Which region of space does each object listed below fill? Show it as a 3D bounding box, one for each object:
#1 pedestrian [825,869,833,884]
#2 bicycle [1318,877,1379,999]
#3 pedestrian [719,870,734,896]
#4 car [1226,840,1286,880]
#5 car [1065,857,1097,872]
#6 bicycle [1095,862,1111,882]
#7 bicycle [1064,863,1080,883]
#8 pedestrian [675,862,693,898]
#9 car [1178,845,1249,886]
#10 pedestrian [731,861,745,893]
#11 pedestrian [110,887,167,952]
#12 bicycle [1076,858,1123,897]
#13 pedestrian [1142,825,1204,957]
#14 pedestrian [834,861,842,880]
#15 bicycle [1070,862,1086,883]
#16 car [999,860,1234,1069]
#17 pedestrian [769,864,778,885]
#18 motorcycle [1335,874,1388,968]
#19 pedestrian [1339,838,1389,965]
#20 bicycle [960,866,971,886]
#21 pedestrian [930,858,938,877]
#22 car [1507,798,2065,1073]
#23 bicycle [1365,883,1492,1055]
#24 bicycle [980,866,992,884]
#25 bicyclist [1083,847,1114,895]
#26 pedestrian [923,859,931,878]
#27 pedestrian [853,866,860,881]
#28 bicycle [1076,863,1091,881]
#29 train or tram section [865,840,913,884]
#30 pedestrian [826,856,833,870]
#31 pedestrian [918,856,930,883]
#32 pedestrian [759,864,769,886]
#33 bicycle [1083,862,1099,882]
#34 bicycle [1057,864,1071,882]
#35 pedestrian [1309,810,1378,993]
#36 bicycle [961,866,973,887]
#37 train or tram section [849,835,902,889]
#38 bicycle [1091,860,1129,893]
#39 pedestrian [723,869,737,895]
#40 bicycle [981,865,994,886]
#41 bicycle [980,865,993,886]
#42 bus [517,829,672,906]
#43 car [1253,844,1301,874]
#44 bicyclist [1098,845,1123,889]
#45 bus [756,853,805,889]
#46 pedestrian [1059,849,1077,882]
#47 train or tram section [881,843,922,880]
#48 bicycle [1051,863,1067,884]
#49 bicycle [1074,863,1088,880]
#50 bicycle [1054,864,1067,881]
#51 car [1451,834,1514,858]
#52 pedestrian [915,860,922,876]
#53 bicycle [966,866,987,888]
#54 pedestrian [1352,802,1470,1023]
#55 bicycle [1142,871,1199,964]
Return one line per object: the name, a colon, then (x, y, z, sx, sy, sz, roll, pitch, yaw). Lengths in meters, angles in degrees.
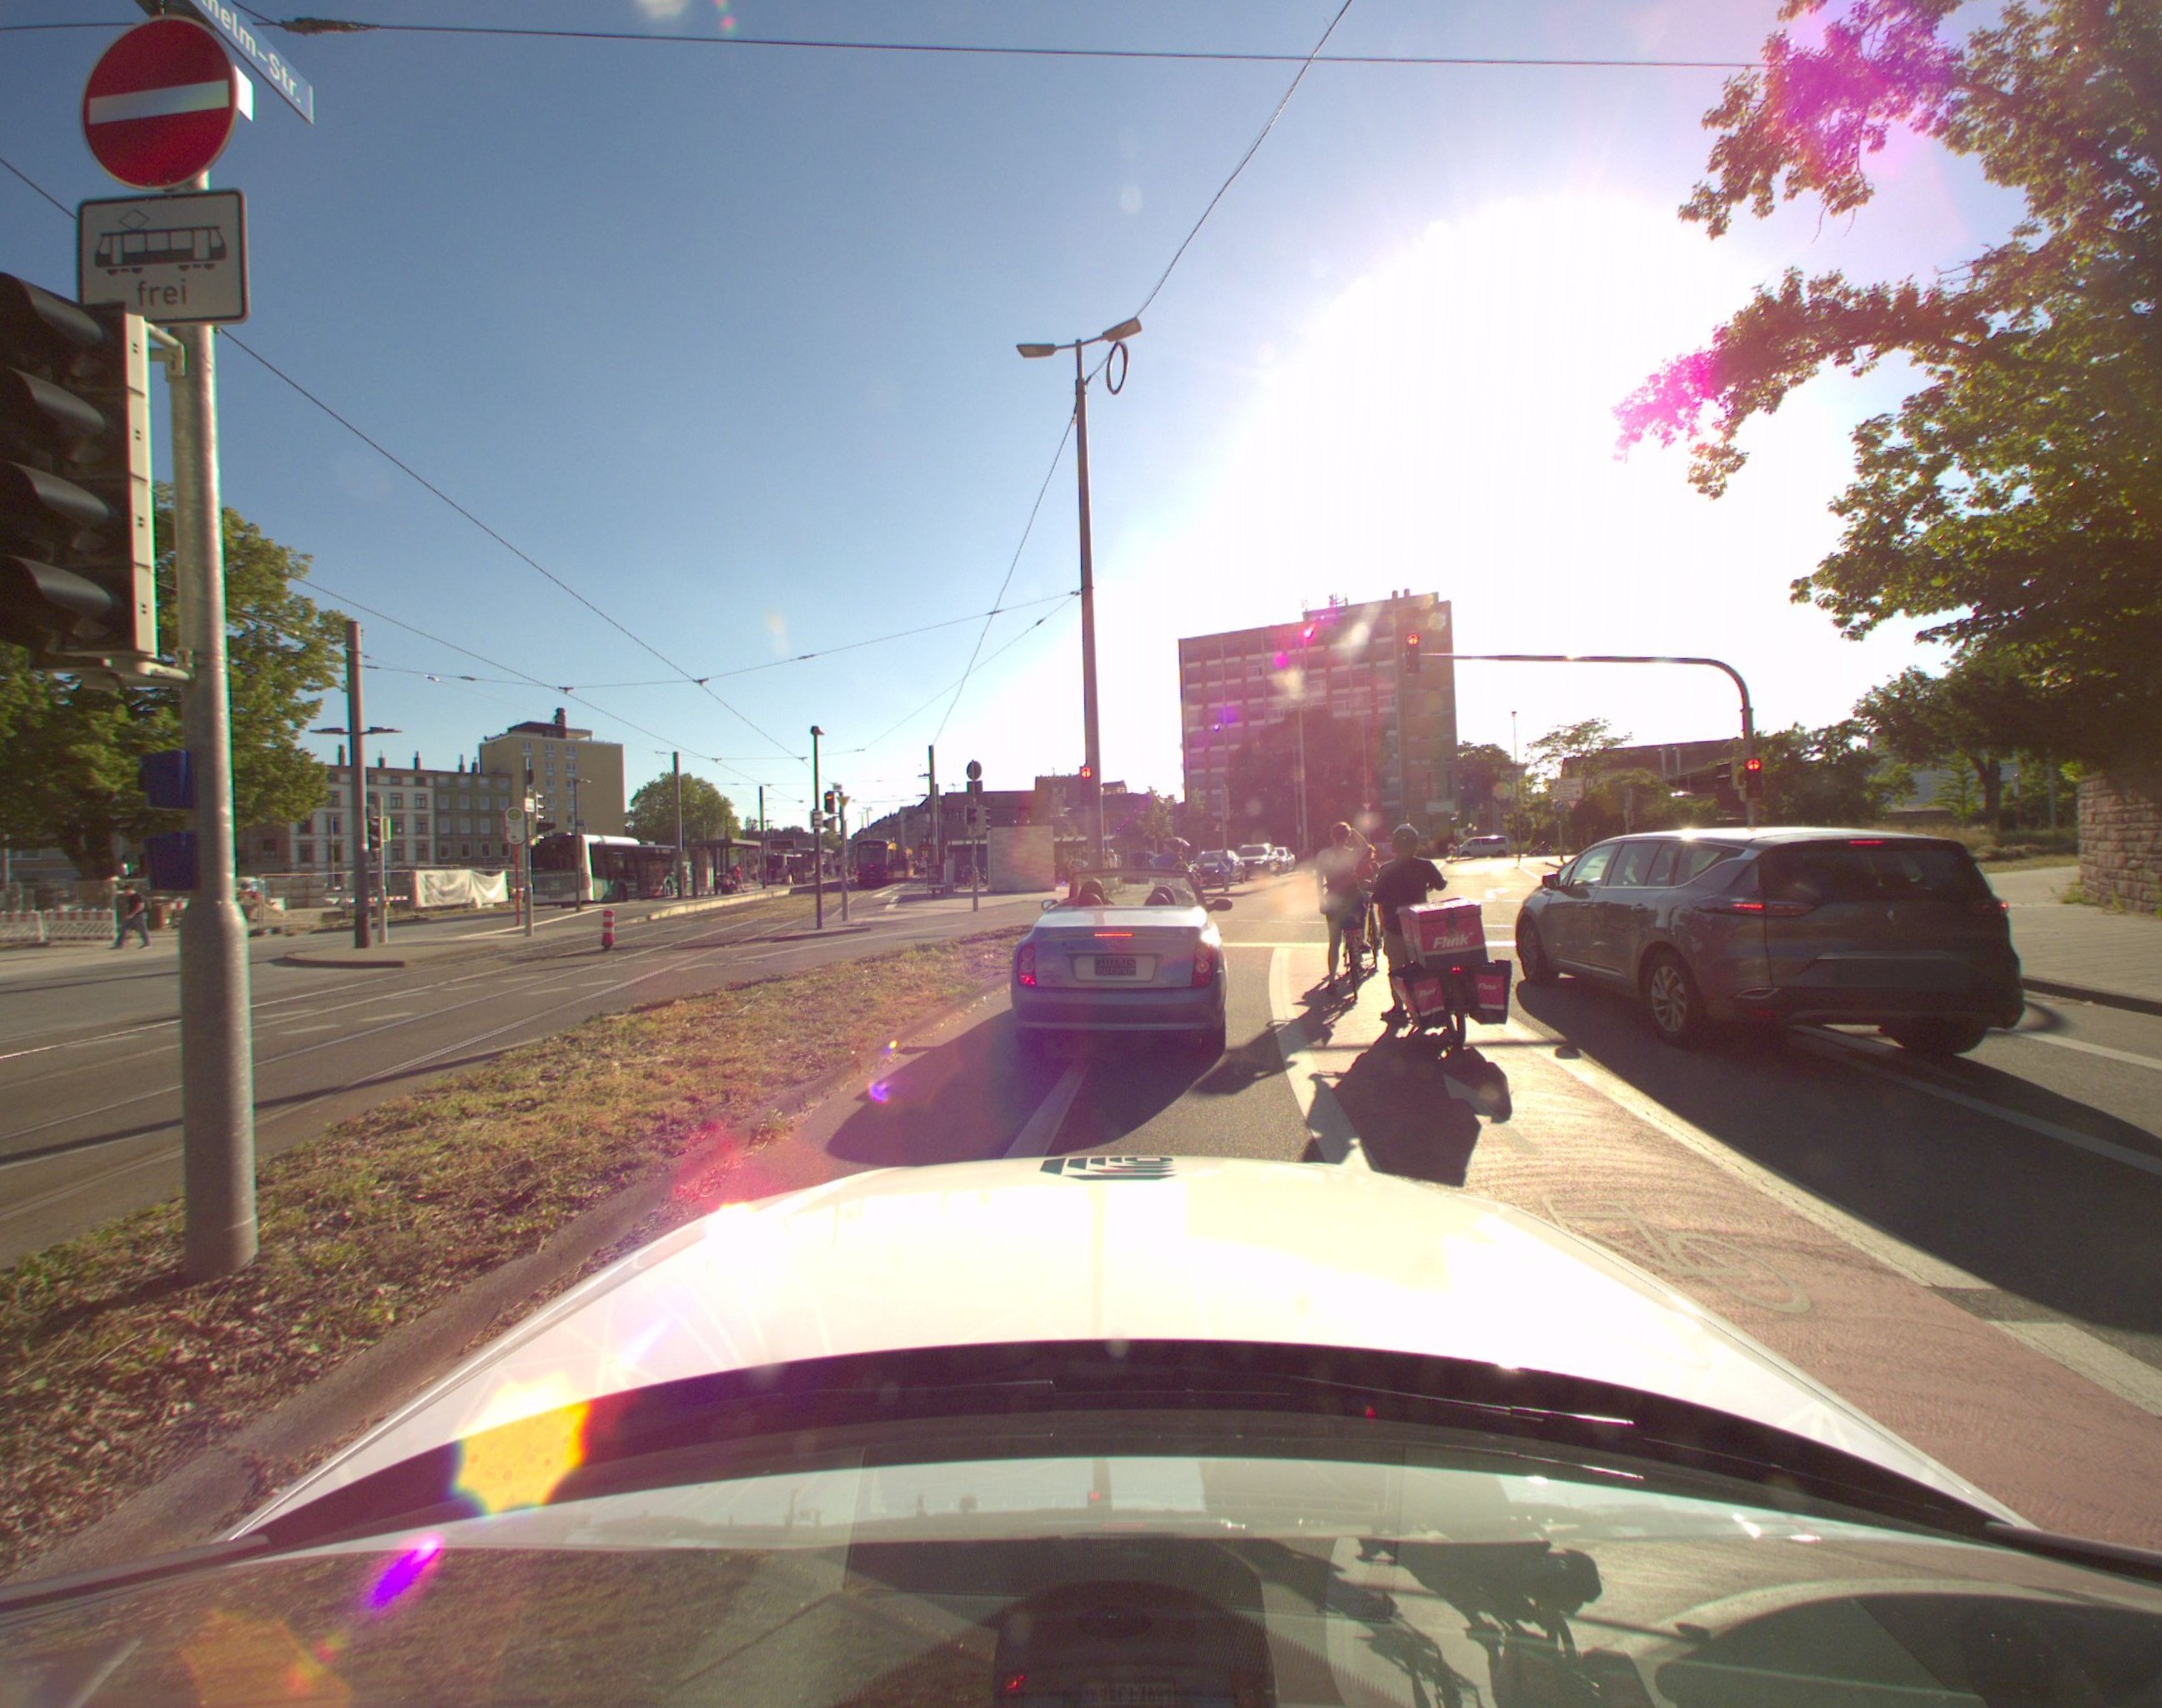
pedestrian: (-30.789, 2.762, 99.628, 0.732, 1.749, 0.638, -2, -1, -6)
bicycle: (2.935, 0.856, 9.023, 0.559, 1.151, 1.958, -1, -1, 17)
pedestrian: (-18.600, 1.519, 42.778, 0.617, 1.340, 0.438, -2, -1, -15)
car: (8.574, 0.256, 39.664, 1.745, 1.706, 4.557, -4, -1, 26)
car: (-0.027, 1.174, 88.865, 1.653, 1.560, 3.559, -2, 0, -37)
bicycle: (1.241, 1.005, 45.681, 0.606, 1.115, 1.892, 0, -1, -7)
bicycle: (-0.539, 1.091, 47.354, 0.607, 1.115, 1.890, 0, -1, -10)
pedestrian: (-19.619, 1.270, 40.266, 0.536, 1.749, 0.559, -2, -1, -4)
car: (5.549, 0.468, 33.644, 1.720, 1.574, 3.948, -1, -1, 28)
pedestrian: (-19.108, 1.274, 45.341, 0.571, 1.749, 0.636, -2, -1, -15)
pedestrian: (-26.156, 1.803, 22.621, 0.712, 1.697, 0.893, -3, -2, -25)
bicycle: (0.677, 0.810, 28.971, 0.668, 1.250, 2.471, -5, -1, 24)
pedestrian: (1.371, 0.526, 12.059, 0.828, 1.869, 0.923, -1, -1, 10)
pedestrian: (-23.369, 1.606, 78.279, 0.641, 1.749, 0.567, -2, -1, -25)
bicycle: (-0.176, 1.014, 45.413, 0.607, 1.115, 1.890, 0, -1, -10)
car: (0.550, 0.782, 7.798, 1.650, 1.441, 4.164, -1, -1, 9)
pedestrian: (-25.465, 1.701, 67.365, 0.571, 1.749, 0.636, -2, -1, -17)
motorcycle: (3.828, 0.844, 11.106, 0.608, 1.097, 2.371, -1, -1, 19)
pedestrian: (3.772, 0.605, 10.847, 0.583, 1.598, 1.030, -1, -1, 19)
bicycle: (-6.558, 1.249, 46.296, 0.606, 1.115, 1.891, 0, -1, -8)
pedestrian: (-14.117, 1.272, 78.206, 0.639, 1.749, 0.732, -2, -1, -17)
car: (5.542, 0.522, 7.321, 1.820, 1.689, 4.381, -1, -1, 10)
bicycle: (2.936, 0.872, 7.096, 0.550, 1.171, 2.380, -1, -1, 12)
bicycle: (-5.899, 1.285, 50.626, 0.607, 1.115, 1.890, 0, -1, -10)
bicyclist: (0.629, 0.595, 28.905, 0.702, 1.657, 0.906, -5, -2, 24)
pedestrian: (-14.665, 1.402, 77.572, 0.639, 1.749, 0.732, -2, -1, -17)
pedestrian: (-28.039, 2.446, 101.817, 0.732, 1.749, 0.638, -2, -1, -6)
bicycle: (0.133, 1.136, 51.415, 0.607, 1.115, 1.890, 0, -1, -10)
train or tram section: (-17.063, 0.703, 73.259, 3.010, 3.597, 12.165, 0, 0, -8)
pedestrian: (-30.790, 1.092, 99.656, 0.735, 1.749, 0.637, -2, -1, -14)
pedestrian: (-10.603, 1.058, 54.926, 0.639, 1.749, 0.569, -2, -1, -17)
pedestrian: (-25.360, 1.685, 65.211, 0.641, 1.749, 0.567, -2, -1, -25)
bicycle: (0.559, 1.054, 47.716, 0.607, 1.115, 1.890, 0, -1, -10)
bicycle: (-1.101, 1.161, 51.242, 0.607, 1.115, 1.890, 0, -1, -10)
pedestrian: (2.837, 0.489, 8.840, 0.654, 1.869, 0.876, -1, -1, 17)
bicycle: (-6.210, 1.230, 44.361, 0.607, 1.115, 1.890, 0, -1, -10)
train or tram section: (-15.258, 0.580, 61.218, 2.881, 3.597, 12.158, 0, -1, -10)
bicycle: (1.156, 0.846, 31.574, 0.668, 1.180, 2.195, -3, 0, 24)
pedestrian: (-18.730, 1.473, 43.465, 0.571, 1.346, 0.636, -2, -1, -15)
bicycle: (-5.372, 1.223, 46.737, 0.607, 1.115, 1.890, 0, -1, -10)
bicycle: (-5.175, 1.192, 44.667, 0.607, 1.115, 1.890, 0, -1, -10)
bus: (-22.368, 0.572, 38.224, 2.652, 3.135, 9.617, 0, -1, -8)
car: (11.169, 0.250, 46.218, 1.678, 1.560, 4.004, -3, 0, 28)
bicyclist: (1.149, 0.489, 31.603, 0.702, 1.657, 0.747, -3, -1, 24)
bus: (-29.665, 1.585, 80.950, 2.723, 3.274, 13.409, 0, -1, -12)
pedestrian: (-0.762, 0.665, 46.958, 0.901, 1.869, 0.684, 0, -1, -11)
train or tram section: (-18.597, 0.811, 85.231, 3.037, 3.597, 12.021, 0, 0, -7)
bicycle: (-1.251, 1.080, 45.297, 0.607, 1.115, 1.890, 0, -1, -10)
bicycle: (-0.028, 1.131, 53.393, 0.607, 1.115, 1.890, 0, -1, -10)
bicycle: (-1.344, 1.192, 53.216, 0.607, 1.115, 1.890, 0, -1, -10)
car: (35.747, -0.719, 72.614, 4.662, 1.945, 1.920, -2, 0, 9)
pedestrian: (-18.069, 1.528, 90.537, 0.604, 1.749, 0.830, -2, -1, -6)
bicycle: (-5.464, 1.202, 42.737, 0.603, 1.115, 1.901, -1, -1, 8)
pedestrian: (2.979, 0.502, 7.449, 0.801, 1.869, 0.959, -1, -1, 10)
bicycle: (1.359, 0.865, 11.989, 0.604, 1.191, 2.422, -1, -1, 12)
